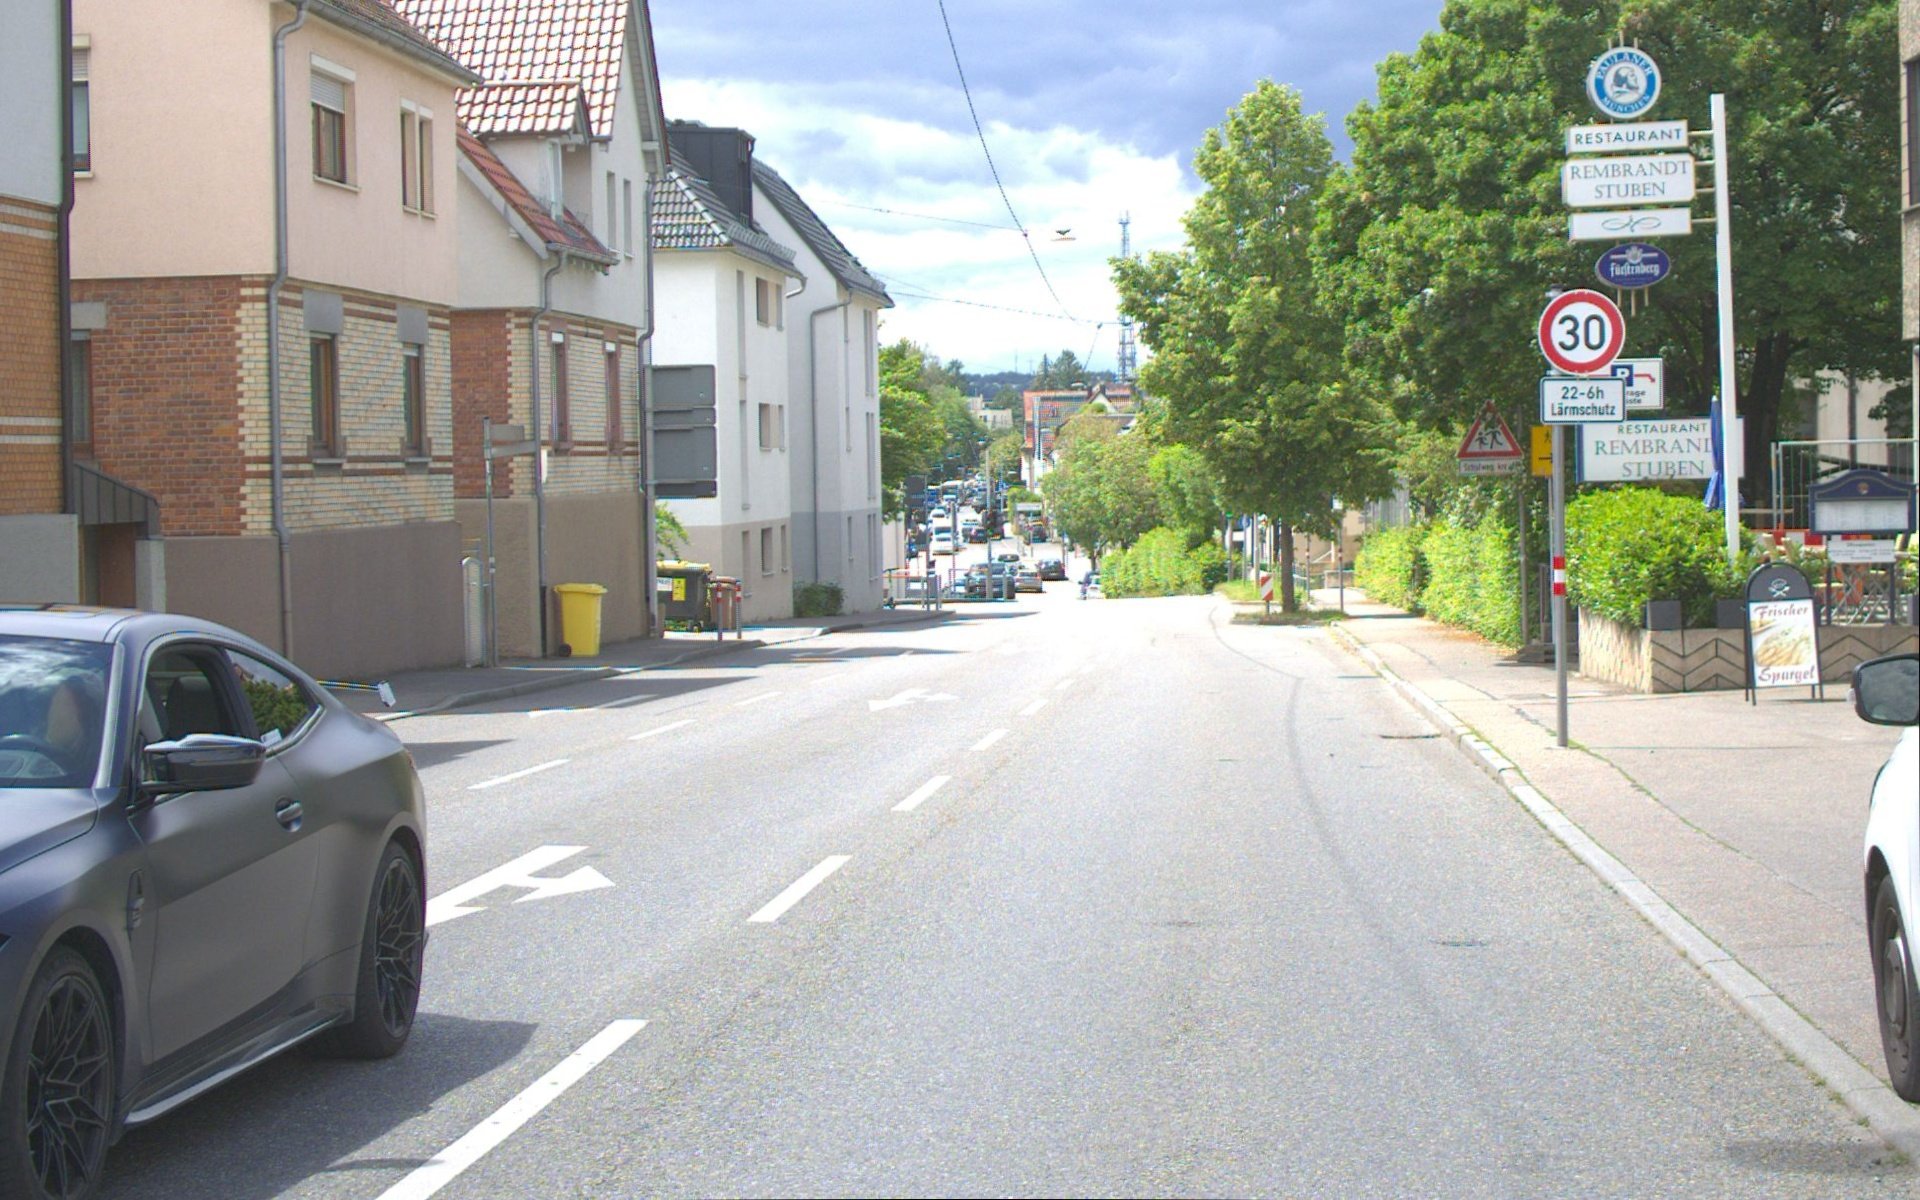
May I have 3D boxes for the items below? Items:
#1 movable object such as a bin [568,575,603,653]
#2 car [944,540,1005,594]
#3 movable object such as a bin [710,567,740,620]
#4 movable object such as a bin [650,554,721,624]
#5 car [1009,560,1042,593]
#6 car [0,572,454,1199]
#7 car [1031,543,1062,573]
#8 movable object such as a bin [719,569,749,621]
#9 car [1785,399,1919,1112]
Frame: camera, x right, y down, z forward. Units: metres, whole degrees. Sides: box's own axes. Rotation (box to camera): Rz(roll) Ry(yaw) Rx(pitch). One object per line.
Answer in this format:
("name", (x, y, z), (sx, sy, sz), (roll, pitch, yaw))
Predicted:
("movable object such as a bin", (-5.535, 0.205, 50.826), (0.431, 1.124, 0.299), (-2, 1, 3))
("car", (0.561, -1.280, 133.214), (1.993, 2.007, 4.001), (-1, 1, -5))
("movable object such as a bin", (-4.649, -0.123, 68.007), (0.531, 1.026, 0.455), (-1, 1, 3))
("movable object such as a bin", (-5.330, -0.219, 66.840), (1.281, 1.305, 0.816), (-2, 1, -1))
("car", (4.215, -1.493, 220.561), (1.993, 2.007, 4.000), (-2, 0, 0))
("car", (-2.859, 0.727, 9.110), (1.994, 1.452, 4.617), (-2, 1, 4))
("car", (5.914, -2.888, 236.457), (1.993, 2.007, 4.000), (-2, 0, 0))
("movable object such as a bin", (-4.507, -0.099, 68.564), (0.531, 1.026, 0.455), (-1, 1, 3))
("car", (3.267, 0.360, 7.938), (1.911, 1.788, 4.490), (-4, 1, 5))
